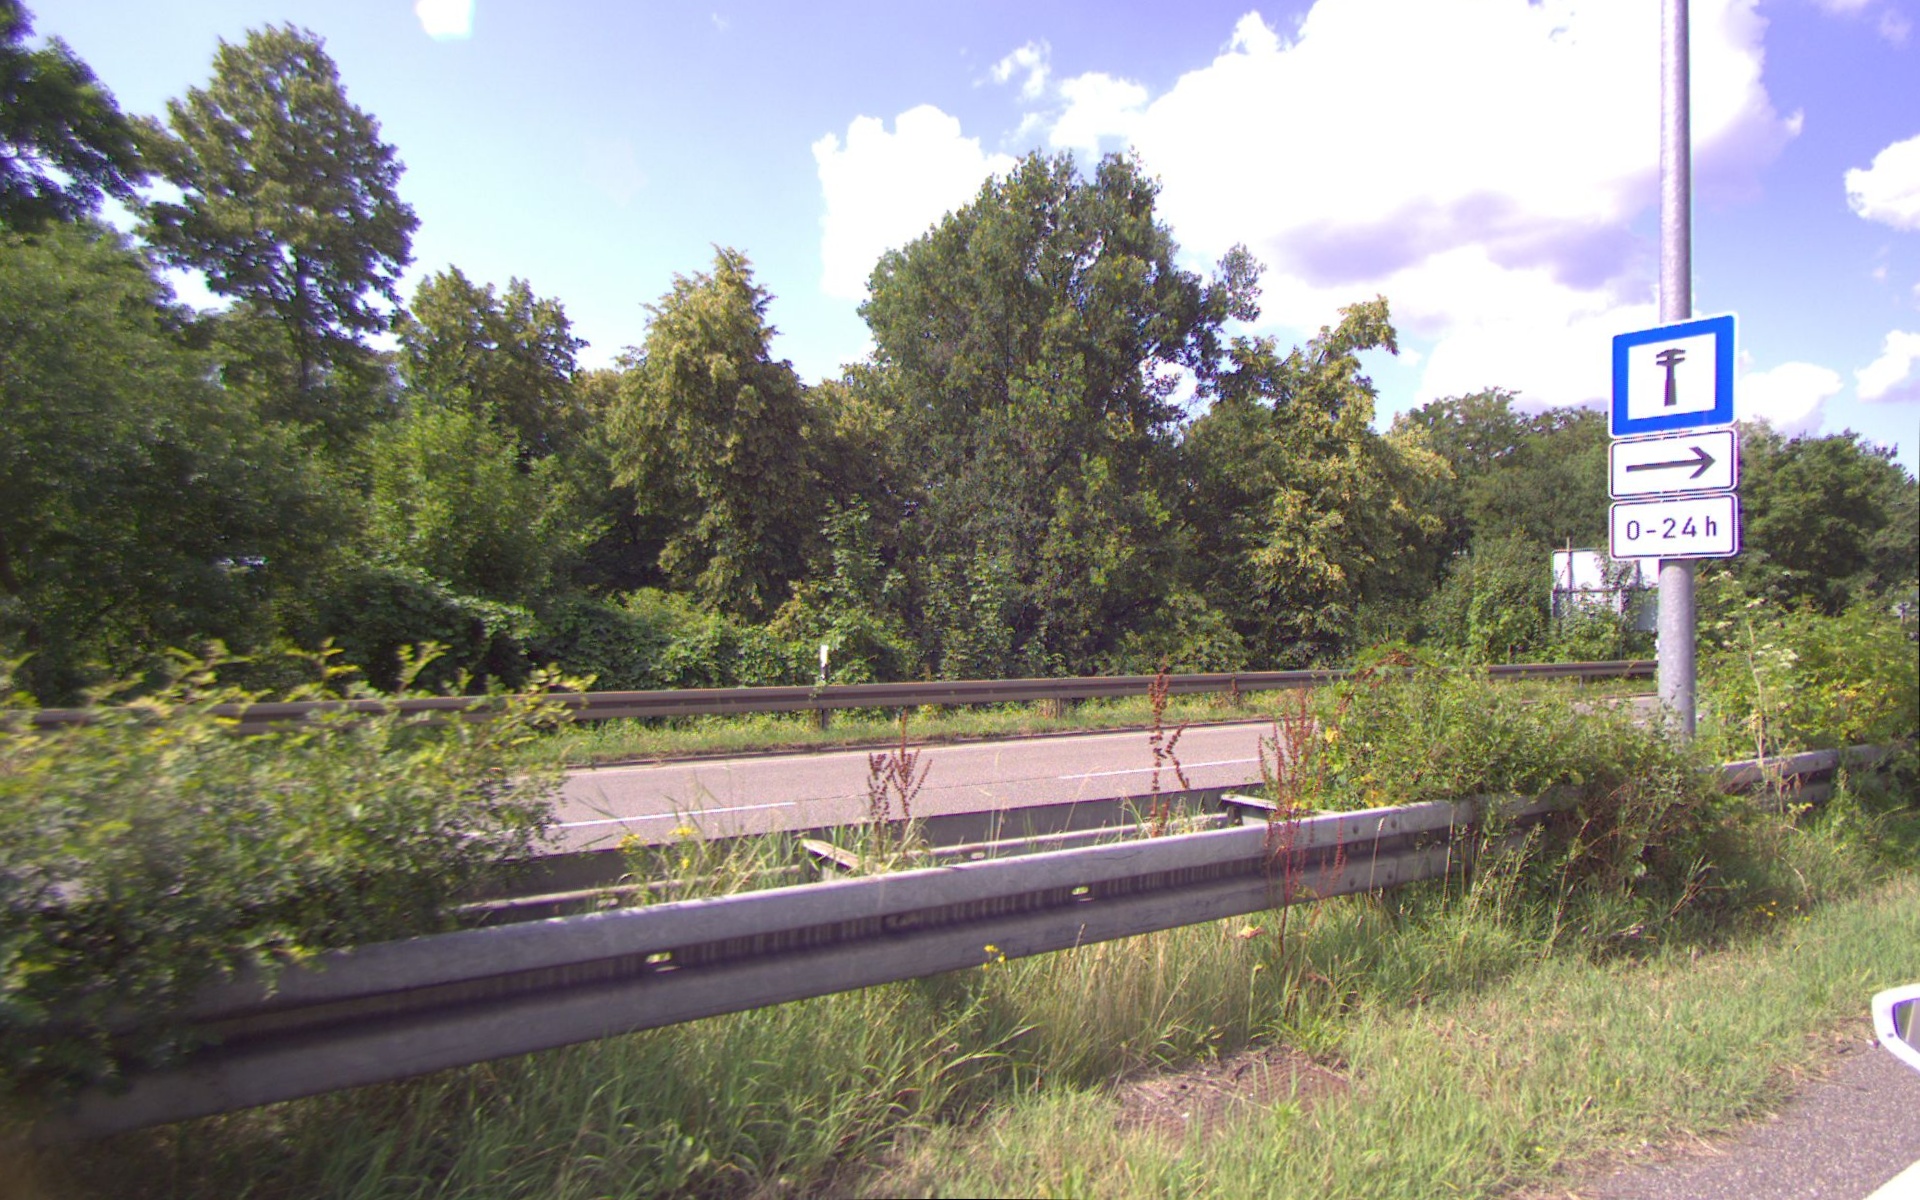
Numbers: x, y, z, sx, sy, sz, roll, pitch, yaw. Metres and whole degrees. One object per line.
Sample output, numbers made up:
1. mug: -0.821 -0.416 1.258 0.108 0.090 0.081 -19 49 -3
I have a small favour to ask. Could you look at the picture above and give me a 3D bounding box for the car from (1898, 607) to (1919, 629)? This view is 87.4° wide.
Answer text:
1. car: 79.861 1.478 83.603 1.818 1.826 4.314 -1 -1 33
